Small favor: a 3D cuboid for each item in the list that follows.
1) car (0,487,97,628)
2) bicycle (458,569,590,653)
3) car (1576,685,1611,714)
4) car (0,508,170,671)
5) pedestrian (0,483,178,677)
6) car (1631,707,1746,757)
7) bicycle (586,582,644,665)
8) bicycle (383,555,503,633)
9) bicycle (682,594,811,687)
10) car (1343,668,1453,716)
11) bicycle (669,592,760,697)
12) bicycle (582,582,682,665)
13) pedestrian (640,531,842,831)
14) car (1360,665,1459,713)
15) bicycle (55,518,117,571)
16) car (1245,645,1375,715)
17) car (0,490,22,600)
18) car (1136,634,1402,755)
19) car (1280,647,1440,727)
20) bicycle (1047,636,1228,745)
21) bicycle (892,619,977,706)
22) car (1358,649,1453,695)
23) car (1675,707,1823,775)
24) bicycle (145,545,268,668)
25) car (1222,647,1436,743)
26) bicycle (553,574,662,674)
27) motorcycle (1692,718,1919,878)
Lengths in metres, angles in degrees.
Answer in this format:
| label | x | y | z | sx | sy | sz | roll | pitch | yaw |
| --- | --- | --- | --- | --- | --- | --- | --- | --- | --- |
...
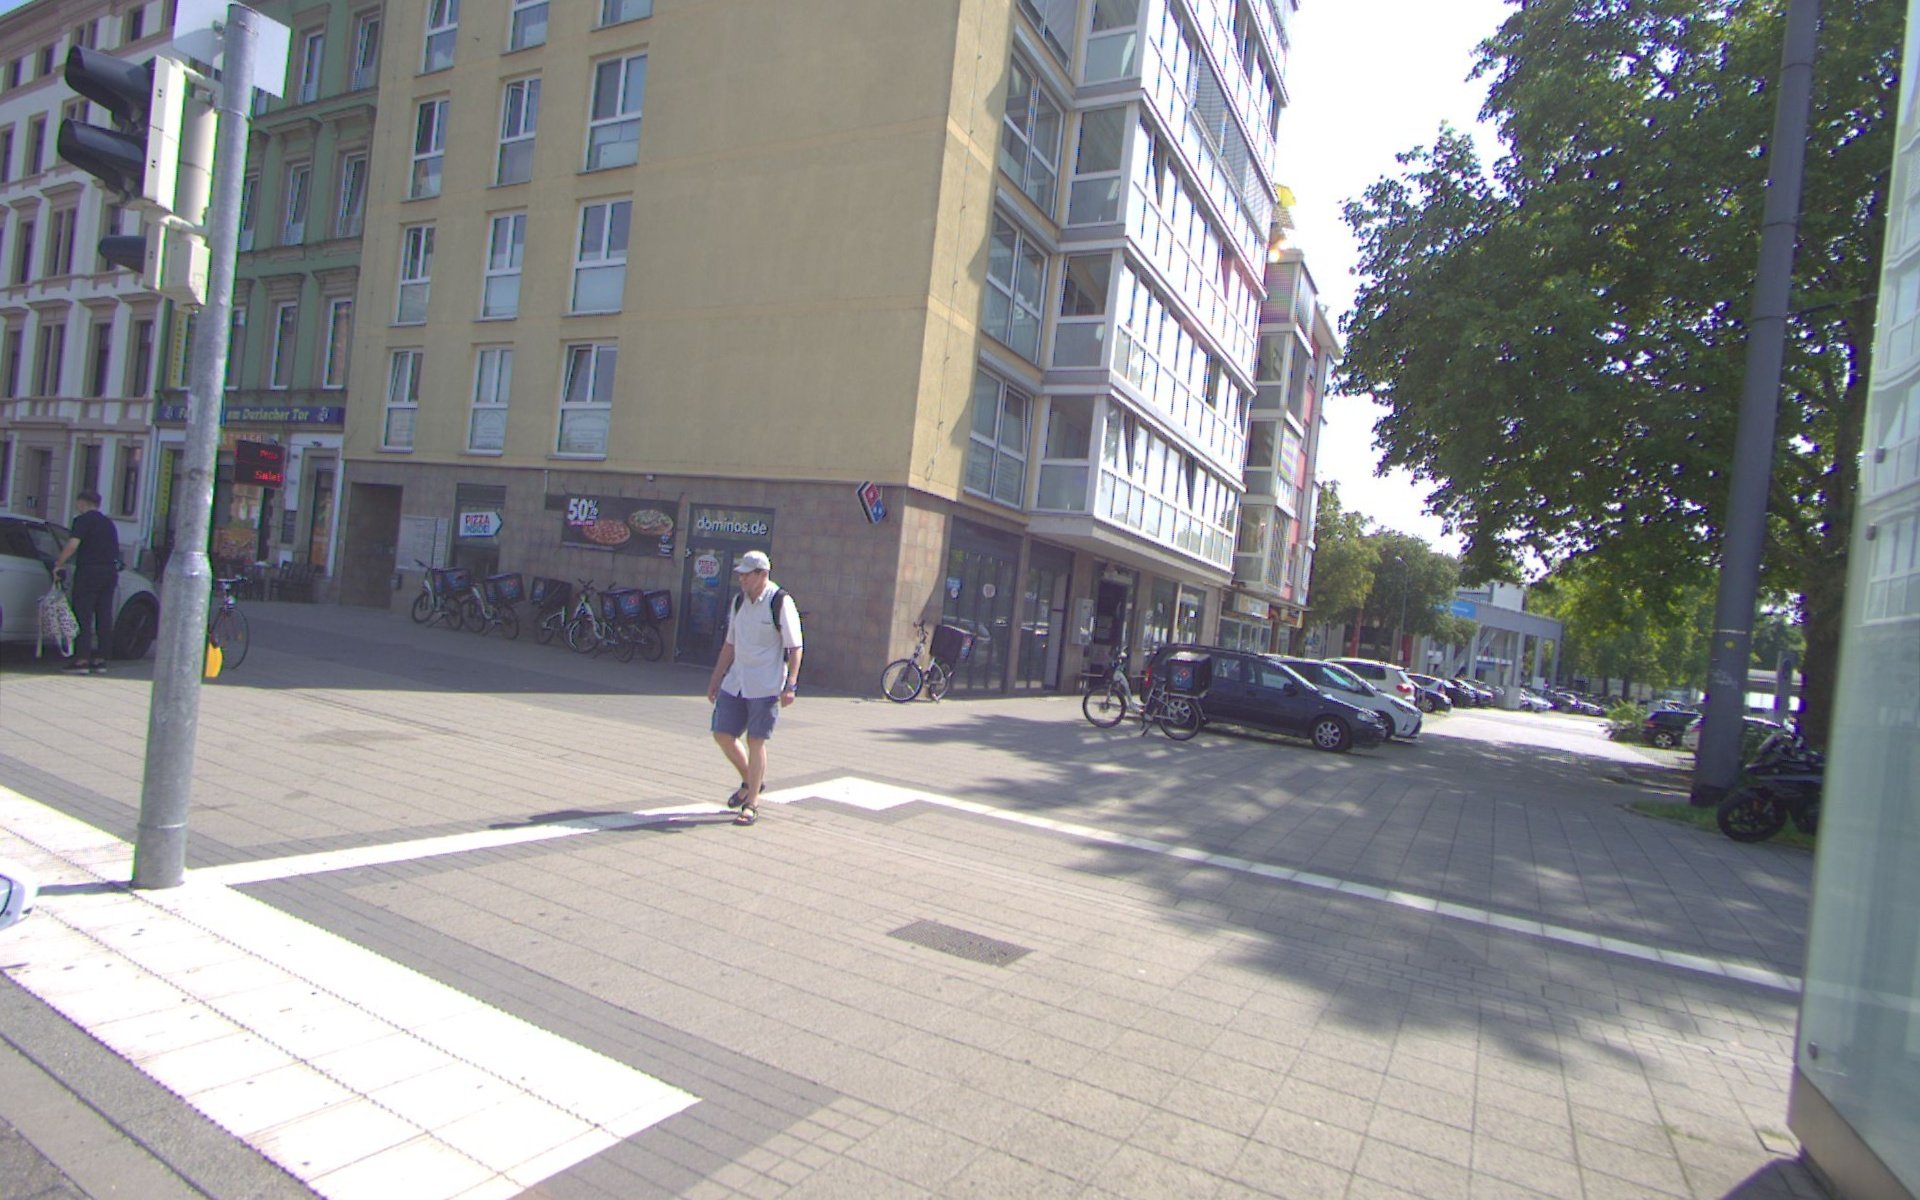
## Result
| label | x | y | z | sx | sy | sz | roll | pitch | yaw |
| --- | --- | --- | --- | --- | --- | --- | --- | --- | --- |
| car | -12.466 | -0.618 | 11.509 | 1.954 | 1.708 | 4.382 | 6 | -1 | -12 |
| bicycle | -8.025 | 0.187 | 18.482 | 2.382 | 1.254 | 0.940 | 6 | 0 | 32 |
| car | 50.111 | 7.894 | 79.508 | 1.581 | 2.038 | 3.670 | 6 | 0 | 42 |
| car | -9.885 | -0.207 | 9.778 | 1.778 | 1.517 | 3.780 | 8 | -2 | -11 |
| pedestrian | -8.678 | -0.169 | 9.939 | 0.887 | 1.724 | 1.039 | 7 | -1 | 3 |
| car | 27.436 | 4.960 | 37.988 | 3.236 | 1.298 | 1.612 | 6 | 0 | 30 |
| bicycle | -5.873 | 0.377 | 17.067 | 0.585 | 1.254 | 1.534 | 6 | 0 | -28 |
| bicycle | -10.174 | -0.120 | 19.767 | 2.382 | 1.254 | 0.940 | 6 | 0 | 32 |
| bicycle | -3.457 | 0.649 | 16.254 | 1.926 | 1.262 | 0.729 | 6 | 0 | 28 |
| car | 18.177 | 3.767 | 41.793 | 4.002 | 1.415 | 1.789 | 6 | 0 | 26 |
| bicycle | -3.845 | 0.636 | 16.057 | 0.888 | 1.422 | 3.360 | 6 | 0 | -7 |
| bicycle | -5.809 | 0.407 | 17.782 | 1.795 | 1.254 | 0.409 | 6 | 1 | 27 |
| pedestrian | -1.461 | 0.523 | 6.801 | 0.800 | 1.829 | 0.820 | 6 | -1 | 29 |
| car | 20.819 | 4.090 | 46.643 | 4.002 | 1.687 | 1.789 | 6 | 0 | 26 |
| bicycle | -24.109 | -1.541 | 27.729 | 2.429 | 1.161 | 0.481 | 8 | 1 | 31 |
| car | 9.463 | 2.127 | 27.185 | 3.044 | 1.446 | 1.402 | 6 | 0 | 26 |
| car | -15.659 | -0.951 | 13.687 | 2.011 | 1.734 | 4.655 | 7 | -1 | -12 |
| car | 5.516 | 1.654 | 17.994 | 4.172 | 1.487 | 1.906 | 6 | -3 | 27 |
| car | 11.466 | 2.450 | 28.886 | 4.002 | 1.687 | 1.789 | 6 | 0 | 26 |
| bicycle | 2.585 | 1.295 | 14.803 | 2.393 | 1.254 | 0.793 | 6 | 0 | 29 |
| bicycle | -0.378 | 0.976 | 15.815 | 0.579 | 1.221 | 1.727 | 6 | 0 | 22 |
| car | 21.464 | 3.452 | 48.511 | 4.002 | 1.687 | 1.789 | 6 | 0 | 26 |
| car | 24.194 | 4.293 | 30.981 | 3.236 | 1.479 | 1.612 | 6 | 0 | 30 |
| bicycle | -8.941 | 0.065 | 11.913 | 1.762 | 1.312 | 0.473 | 5 | 0 | 31 |
| car | 8.167 | 2.037 | 22.279 | 4.172 | 1.488 | 1.904 | 6 | 0 | 26 |
| bicycle | -5.782 | 0.357 | 16.777 | 0.888 | 1.422 | 3.360 | 6 | 0 | -7 |
| motorcycle | 8.299 | 1.850 | 9.497 | 2.083 | 1.151 | 0.908 | 6 | 0 | 42 |
